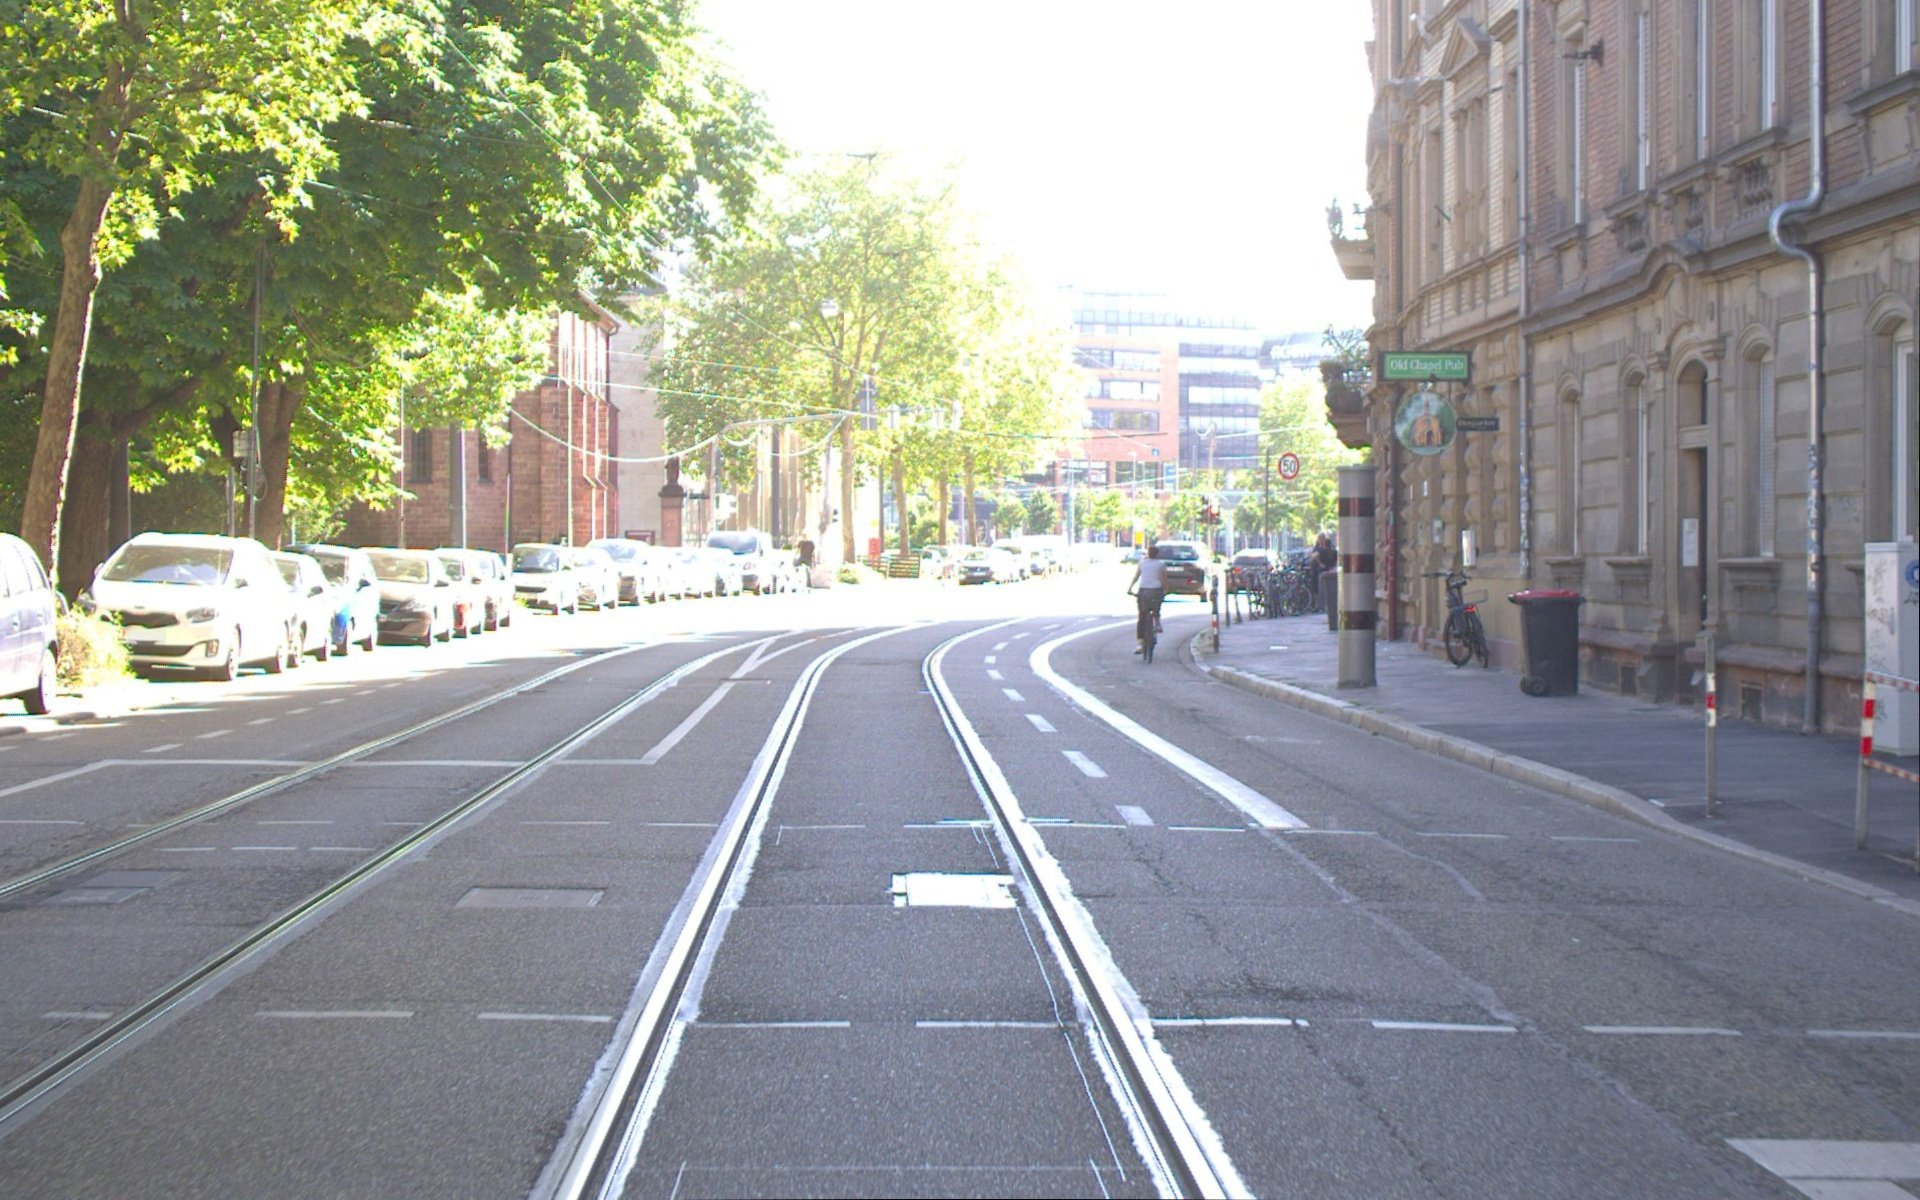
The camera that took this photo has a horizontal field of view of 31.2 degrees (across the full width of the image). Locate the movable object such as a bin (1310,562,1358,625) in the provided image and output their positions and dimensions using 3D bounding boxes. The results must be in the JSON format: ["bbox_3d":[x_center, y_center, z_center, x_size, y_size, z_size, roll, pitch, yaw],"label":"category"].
[{"bbox_3d":[6.607,-0.118,60.803,0.695,1.089,0.742,2,0,-4],"label":"movable object such as a bin"}]

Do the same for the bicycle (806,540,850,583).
[{"bbox_3d":[-4.939,-1.447,128.944,1.234,1.567,2.896,2,0,6],"label":"bicycle"}]

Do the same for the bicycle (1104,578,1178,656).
[{"bbox_3d":[2.631,0.234,50.190,0.856,1.084,2.487,2,0,-1],"label":"bicycle"}]

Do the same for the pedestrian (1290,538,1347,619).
[{"bbox_3d":[7.971,-0.474,76.426,1.054,1.754,1.332,2,0,-1],"label":"pedestrian"}]

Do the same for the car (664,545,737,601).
[{"bbox_3d":[-7.809,-0.815,103.737,1.748,1.581,4.043,2,0,1],"label":"car"}]

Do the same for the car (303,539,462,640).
[{"bbox_3d":[-9.192,-0.177,54.992,1.748,1.504,4.043,2,0,1],"label":"car"}]

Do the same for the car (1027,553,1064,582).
[{"bbox_3d":[4.408,-1.660,177.247,1.748,1.417,4.043,2,0,3],"label":"car"}]

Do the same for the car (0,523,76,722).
[{"bbox_3d":[-8.721,0.162,28.797,1.545,1.653,3.762,2,0,1],"label":"car"}]

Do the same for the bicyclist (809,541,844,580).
[{"bbox_3d":[-5.003,-1.472,128.917,1.078,1.423,1.146,2,0,7],"label":"bicyclist"}]

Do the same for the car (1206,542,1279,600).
[{"bbox_3d":[9.447,-0.968,115.259,2.027,1.842,4.298,2,0,0],"label":"car"}]

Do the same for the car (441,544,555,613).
[{"bbox_3d":[-9.715,-0.463,72.496,1.748,1.359,4.043,2,0,1],"label":"car"}]

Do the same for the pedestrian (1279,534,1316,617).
[{"bbox_3d":[7.779,-0.567,79.214,0.784,1.882,0.970,2,0,7],"label":"pedestrian"}]

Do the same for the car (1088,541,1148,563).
[{"bbox_3d":[11.065,-3.349,240.377,4.031,1.417,1.753,2,0,9],"label":"car"}]

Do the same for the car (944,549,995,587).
[{"bbox_3d":[0.395,-1.266,136.883,1.748,1.417,4.043,2,0,3],"label":"car"}]

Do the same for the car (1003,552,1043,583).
[{"bbox_3d":[3.069,-1.587,167.414,1.748,1.417,4.043,2,0,3],"label":"car"}]

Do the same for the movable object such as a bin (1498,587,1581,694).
[{"bbox_3d":[5.802,0.399,34.435,0.673,1.032,0.813,0,2,-1],"label":"movable object such as a bin"}]

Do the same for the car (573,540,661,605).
[{"bbox_3d":[-8.803,-0.715,88.451,1.748,1.581,4.043,2,0,1],"label":"car"}]

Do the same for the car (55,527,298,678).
[{"bbox_3d":[-8.922,0.012,39.457,1.748,1.602,4.043,2,0,1],"label":"car"}]

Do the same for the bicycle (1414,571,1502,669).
[{"bbox_3d":[5.889,0.223,40.768,0.639,1.114,2.297,2,0,-1],"label":"bicycle"}]

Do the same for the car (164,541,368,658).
[{"bbox_3d":[-9.051,-0.026,45.124,1.748,1.417,4.043,2,0,1],"label":"car"}]

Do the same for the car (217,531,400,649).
[{"bbox_3d":[-9.321,-0.157,49.472,1.748,1.581,4.043,2,0,1],"label":"car"}]

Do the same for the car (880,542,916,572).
[{"bbox_3d":[-3.501,-2.437,194.515,1.748,1.619,4.043,2,0,3],"label":"car"}]

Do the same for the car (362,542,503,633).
[{"bbox_3d":[-9.246,-0.223,60.549,1.748,1.500,4.043,2,0,1],"label":"car"}]

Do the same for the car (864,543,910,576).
[{"bbox_3d":[-3.302,-1.828,156.525,1.748,1.417,4.043,2,0,3],"label":"car"}]

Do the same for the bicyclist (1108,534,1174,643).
[{"bbox_3d":[2.641,-0.167,50.322,0.838,1.552,0.965,2,0,-2],"label":"bicyclist"}]

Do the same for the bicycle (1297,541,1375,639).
[{"bbox_3d":[6.083,-0.161,55.496,0.971,1.510,3.244,2,0,10],"label":"bicycle"}]

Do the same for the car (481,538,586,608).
[{"bbox_3d":[-9.639,-0.605,77.930,1.748,1.490,4.043,2,0,1],"label":"car"}]

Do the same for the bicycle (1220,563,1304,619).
[{"bbox_3d":[6.254,-0.179,71.120,0.641,1.114,2.292,2,0,36],"label":"bicycle"}]

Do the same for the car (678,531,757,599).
[{"bbox_3d":[-7.653,-1.113,108.779,2.058,2.045,4.043,2,0,1],"label":"car"}]

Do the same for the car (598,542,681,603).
[{"bbox_3d":[-8.664,-0.752,93.328,1.748,1.581,4.043,2,0,1],"label":"car"}]

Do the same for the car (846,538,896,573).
[{"bbox_3d":[-3.784,-1.899,146.482,1.748,1.417,4.043,2,0,3],"label":"car"}]

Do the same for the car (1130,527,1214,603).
[{"bbox_3d":[5.904,-0.969,96.031,1.993,2.007,4.000,2,0,-1],"label":"car"}]

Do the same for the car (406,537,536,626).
[{"bbox_3d":[-9.209,-0.359,64.968,1.748,1.581,4.043,2,0,1],"label":"car"}]

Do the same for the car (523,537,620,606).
[{"bbox_3d":[-9.354,-0.685,83.001,1.748,1.581,4.043,2,0,1],"label":"car"}]
